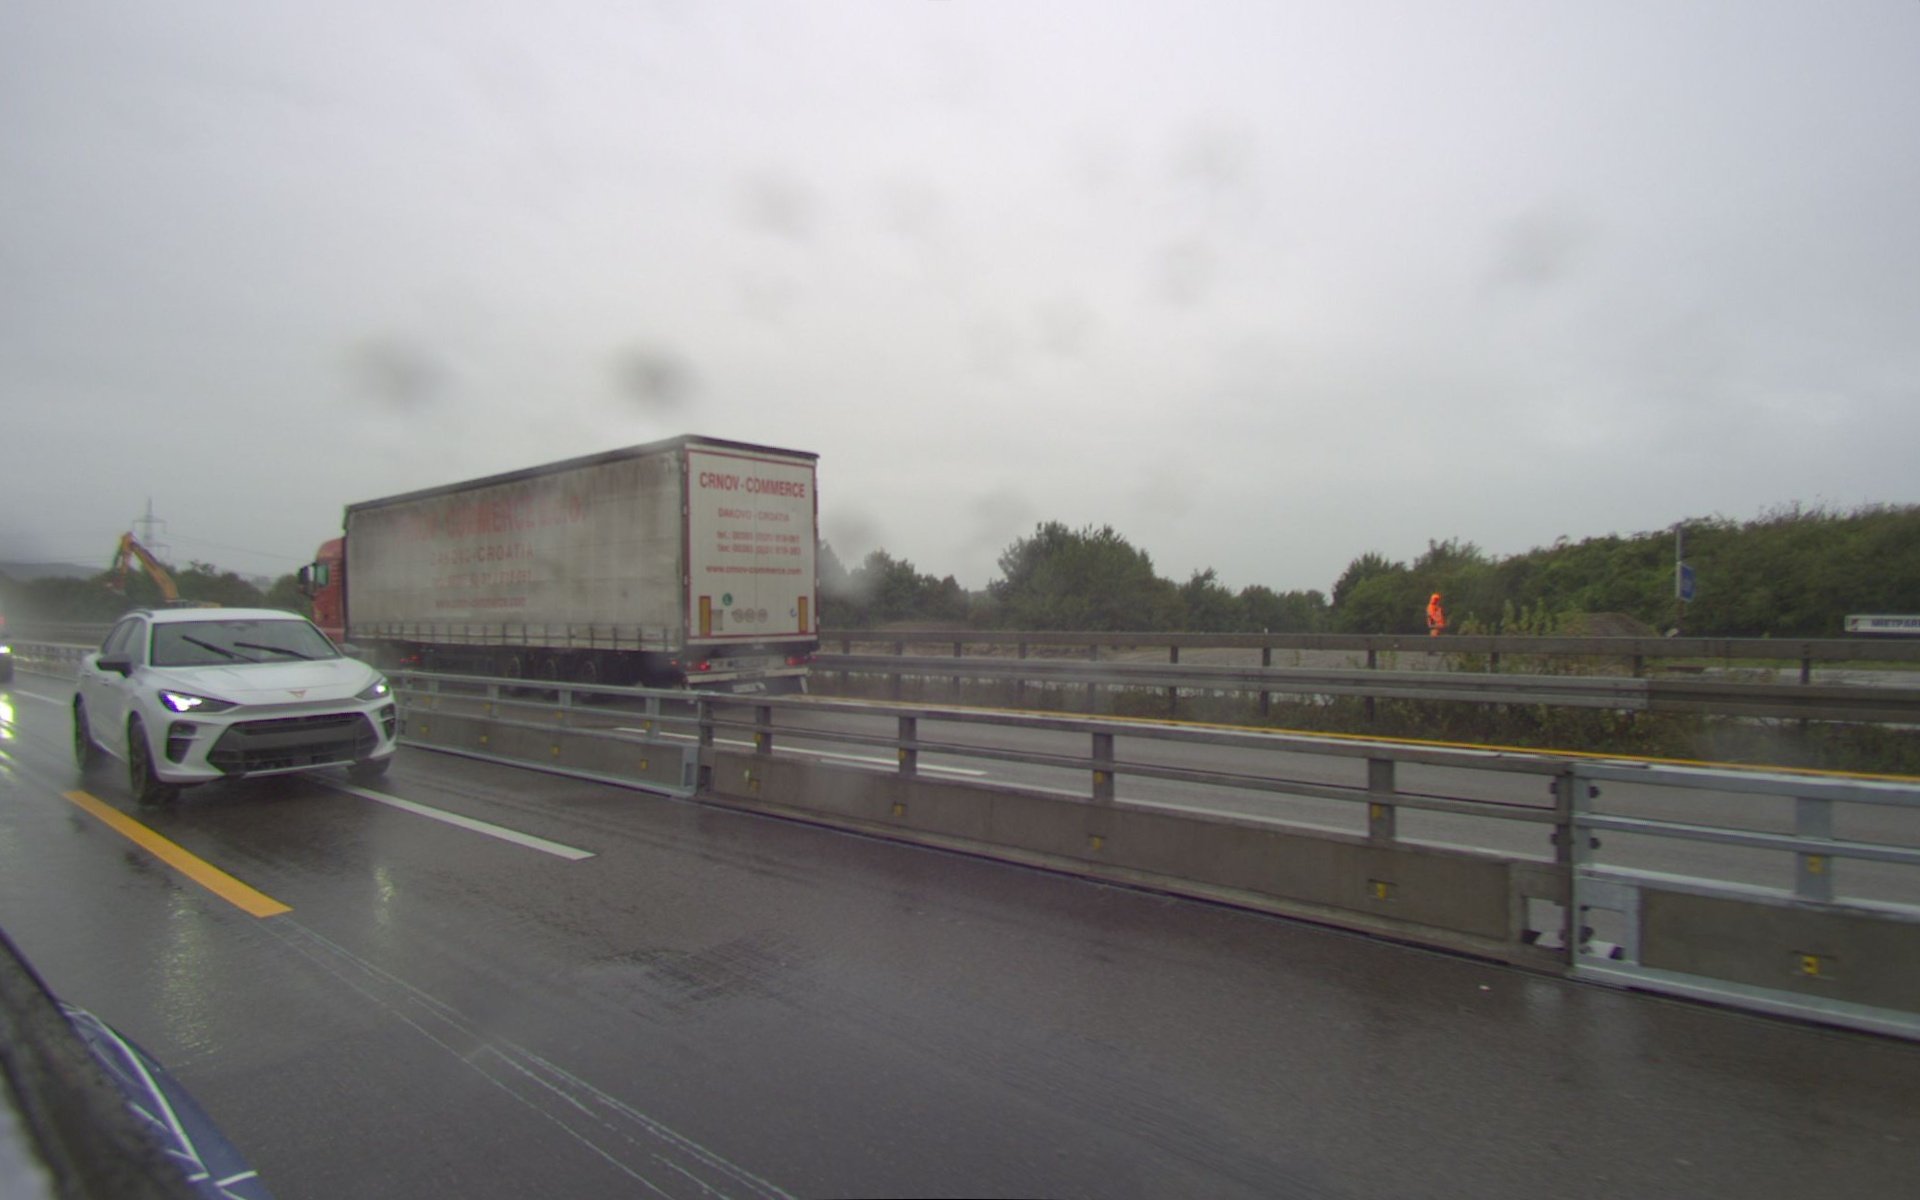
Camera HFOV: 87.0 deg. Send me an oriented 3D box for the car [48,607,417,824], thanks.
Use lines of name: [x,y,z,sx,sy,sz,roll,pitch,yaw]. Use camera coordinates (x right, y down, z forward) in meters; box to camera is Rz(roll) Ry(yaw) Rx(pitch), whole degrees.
car: [-7.169,0.884,9.726,5.006,1.562,1.907,-1,-1,43]

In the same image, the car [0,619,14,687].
car: [-25.663,1.332,25.650,5.194,1.640,2.042,-1,-1,42]

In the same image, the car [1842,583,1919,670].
car: [24.874,0.617,23.913,2.329,2.092,5.596,0,-1,-28]

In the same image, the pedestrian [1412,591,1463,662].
pedestrian: [14.146,0.766,29.969,1.125,2.029,1.094,-1,0,39]

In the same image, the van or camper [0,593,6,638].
van or camper: [-65.602,1.099,67.303,6.218,2.940,2.459,-1,0,40]

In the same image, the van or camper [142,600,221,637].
van or camper: [-74.709,1.770,97.229,3.373,3.370,5.355,-1,0,38]

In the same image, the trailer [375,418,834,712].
trailer: [-7.299,-0.413,18.820,11.923,4.037,2.585,-1,0,42]

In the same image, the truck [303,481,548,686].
truck: [-12.627,-0.305,23.576,7.282,4.078,2.615,-1,0,42]
